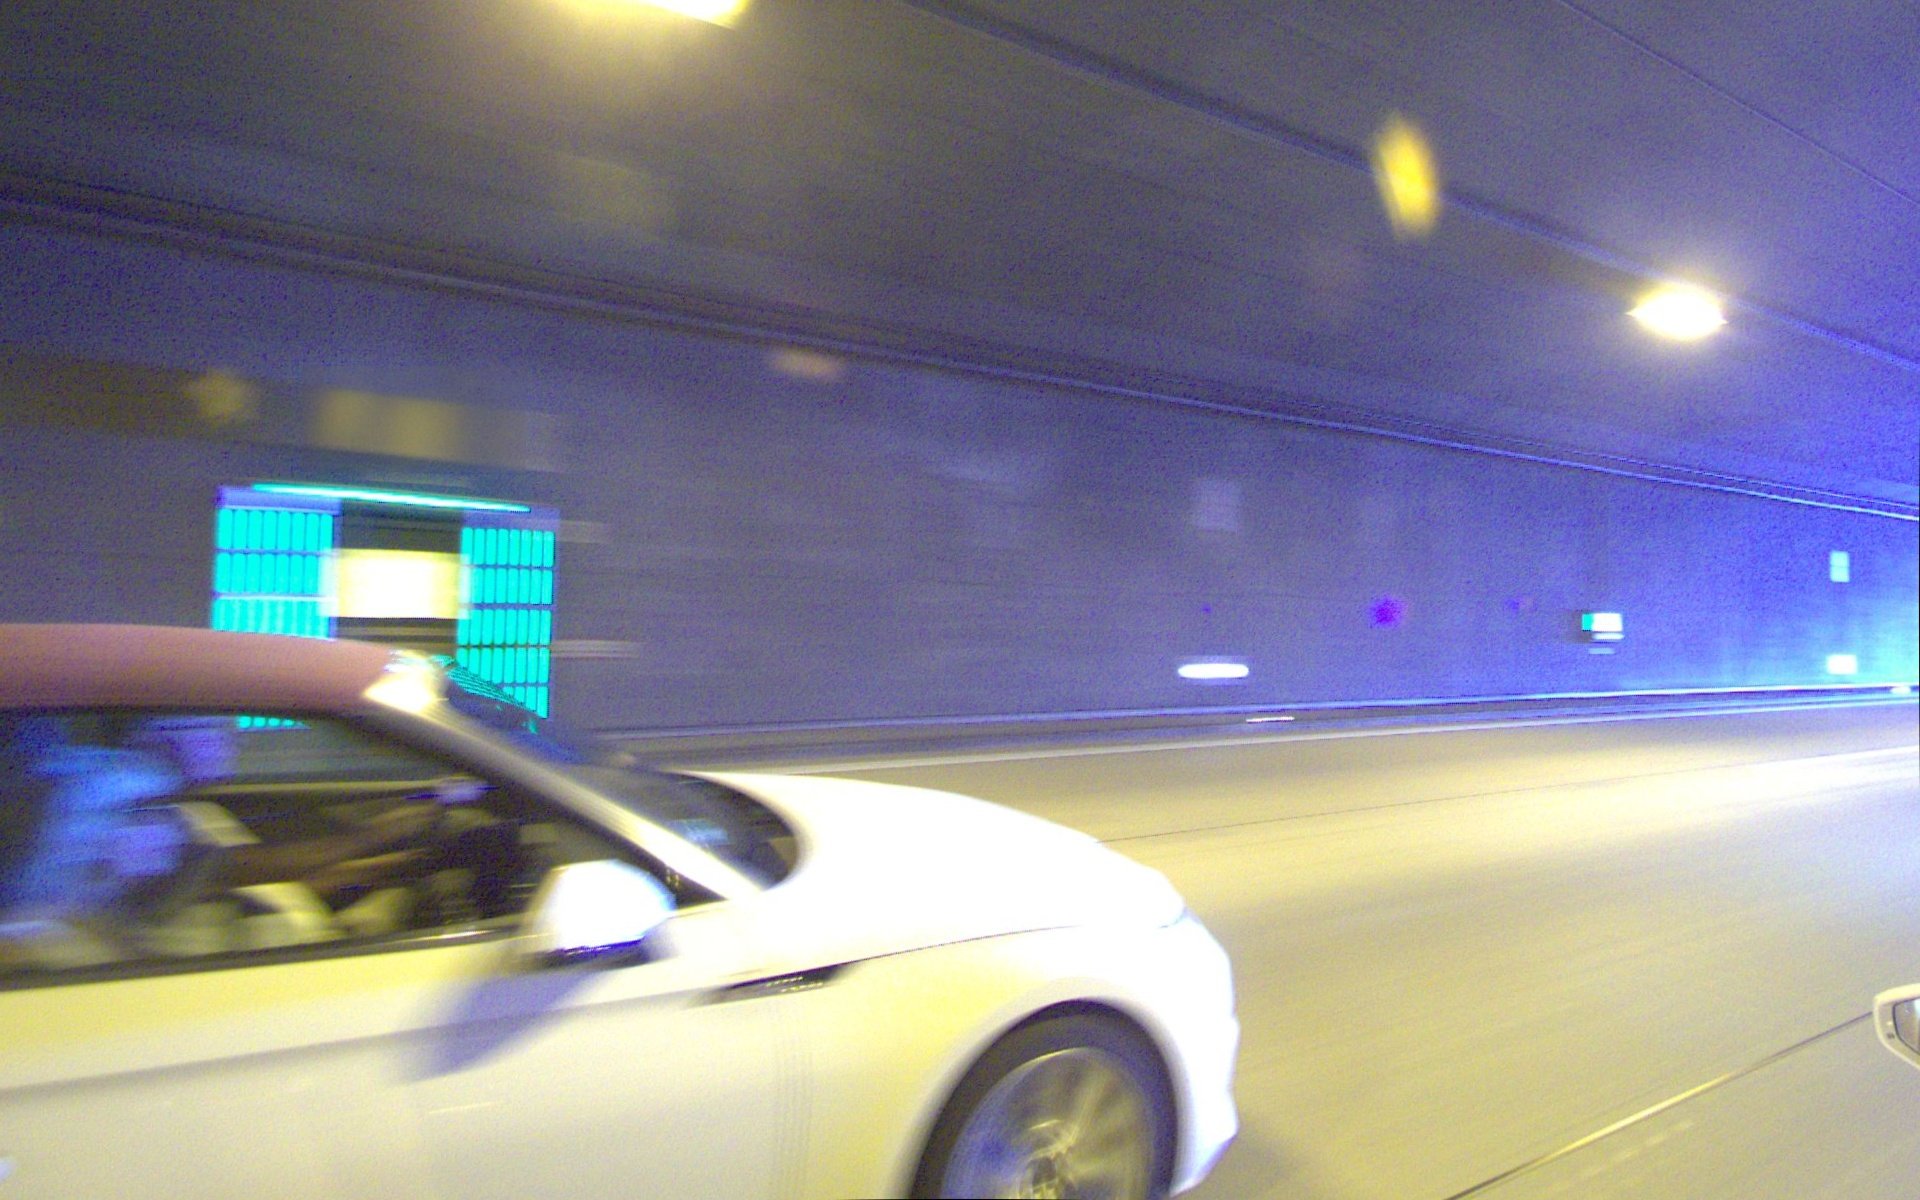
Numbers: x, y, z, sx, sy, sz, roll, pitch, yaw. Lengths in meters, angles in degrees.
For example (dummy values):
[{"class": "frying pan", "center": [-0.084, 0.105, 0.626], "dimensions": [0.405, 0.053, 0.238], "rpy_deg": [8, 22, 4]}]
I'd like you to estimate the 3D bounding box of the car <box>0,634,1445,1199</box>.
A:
[{"class": "car", "center": [-1.293, 0.817, 2.065], "dimensions": [5.003, 1.437, 1.693], "rpy_deg": [2, -2, -31]}]
